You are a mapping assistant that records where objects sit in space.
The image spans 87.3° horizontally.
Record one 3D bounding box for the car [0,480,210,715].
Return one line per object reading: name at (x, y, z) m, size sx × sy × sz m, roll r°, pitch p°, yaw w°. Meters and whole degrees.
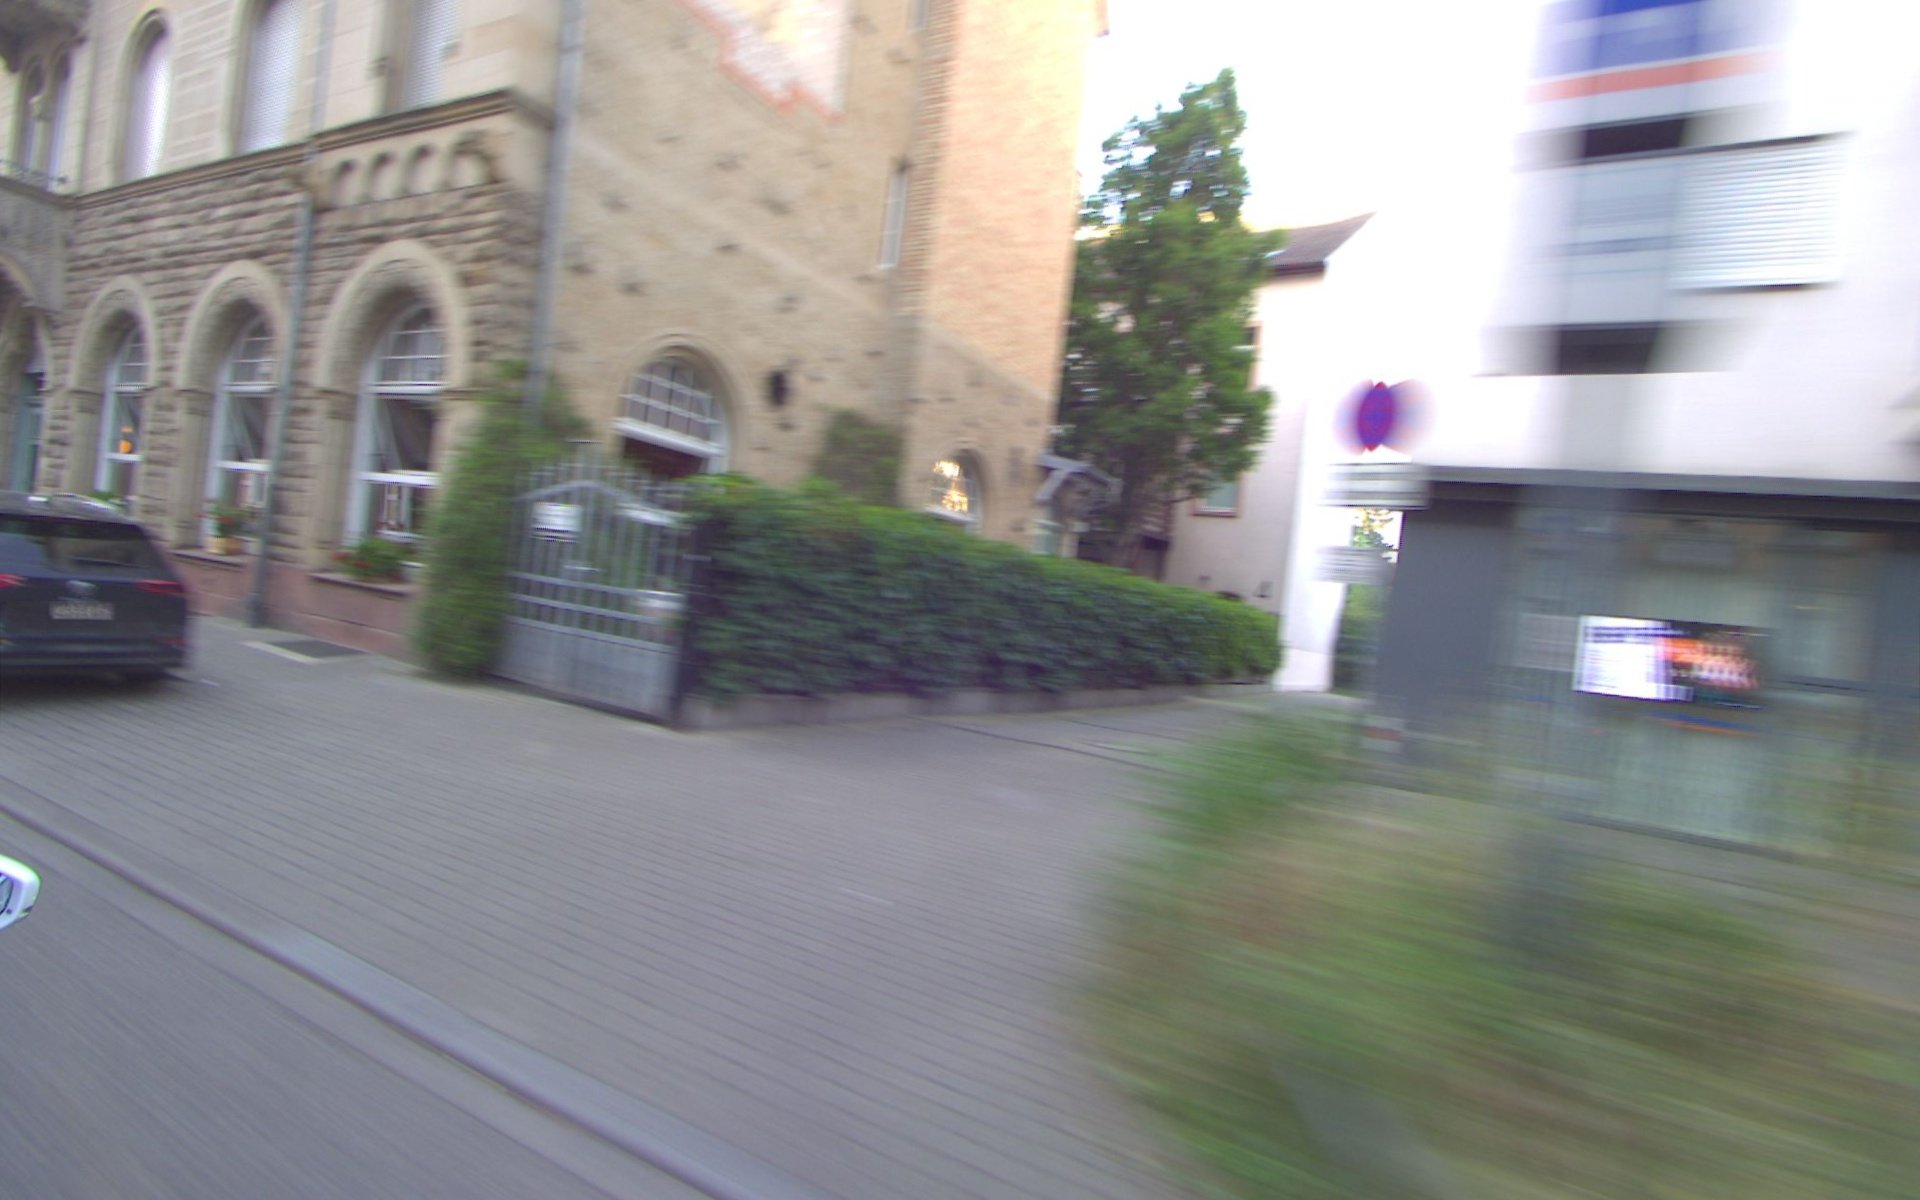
car at (-7.890, -0.207, 7.885) m, size 4.403 × 1.449 × 1.676 m, roll 7°, pitch 4°, yaw 31°
